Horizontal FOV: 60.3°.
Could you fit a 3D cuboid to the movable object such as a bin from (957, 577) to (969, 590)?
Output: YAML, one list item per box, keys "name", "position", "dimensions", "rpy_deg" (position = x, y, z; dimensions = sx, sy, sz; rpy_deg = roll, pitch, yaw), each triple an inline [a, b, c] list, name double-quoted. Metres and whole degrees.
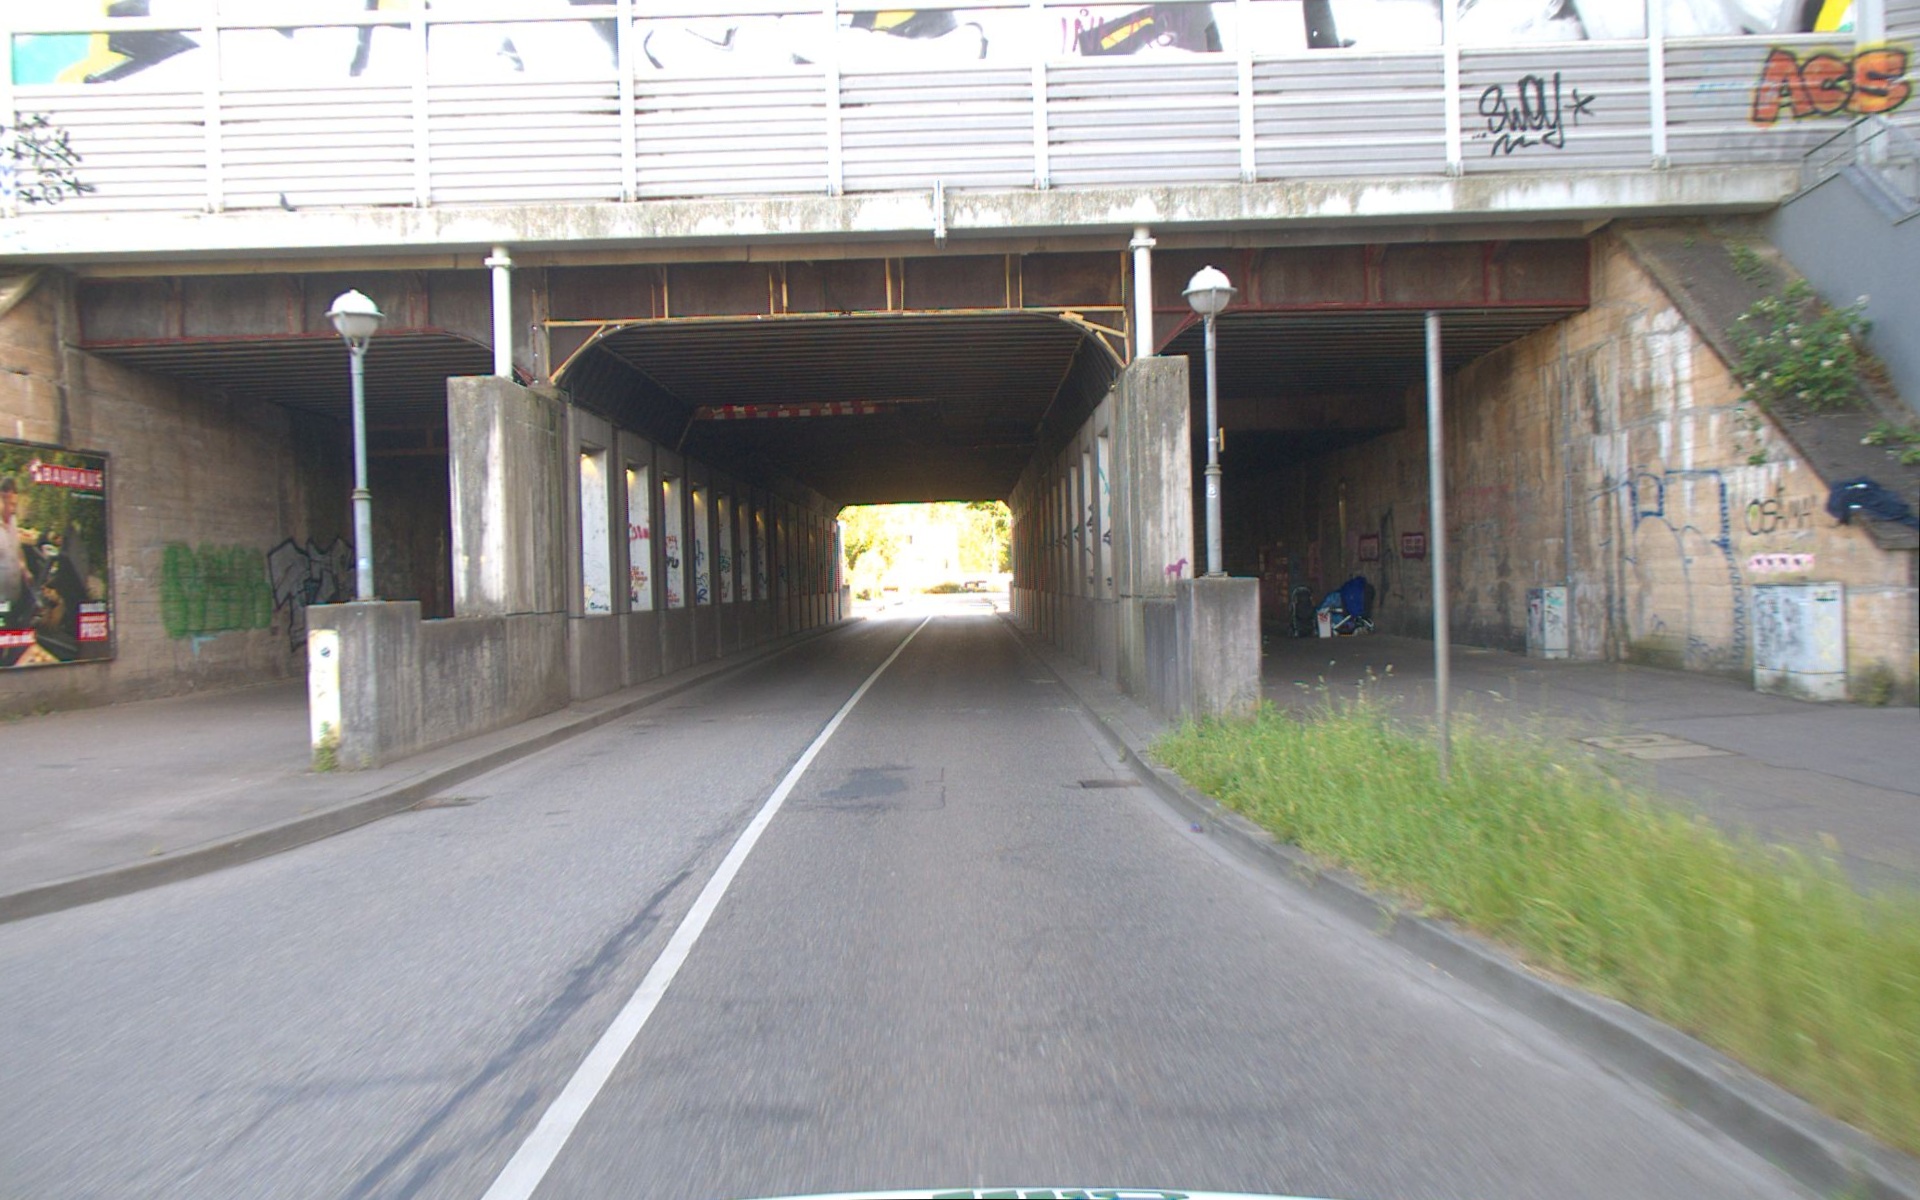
- name: "movable object such as a bin"
  position: [0.356, -1.935, 192.269]
  dimensions: [1.339, 1.443, 1.064]
  rpy_deg: [0, 0, -7]

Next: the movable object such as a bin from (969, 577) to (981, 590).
- name: "movable object such as a bin"
  position: [1.745, -1.932, 192.483]
  dimensions: [1.339, 1.443, 1.064]
  rpy_deg: [0, 0, -7]
